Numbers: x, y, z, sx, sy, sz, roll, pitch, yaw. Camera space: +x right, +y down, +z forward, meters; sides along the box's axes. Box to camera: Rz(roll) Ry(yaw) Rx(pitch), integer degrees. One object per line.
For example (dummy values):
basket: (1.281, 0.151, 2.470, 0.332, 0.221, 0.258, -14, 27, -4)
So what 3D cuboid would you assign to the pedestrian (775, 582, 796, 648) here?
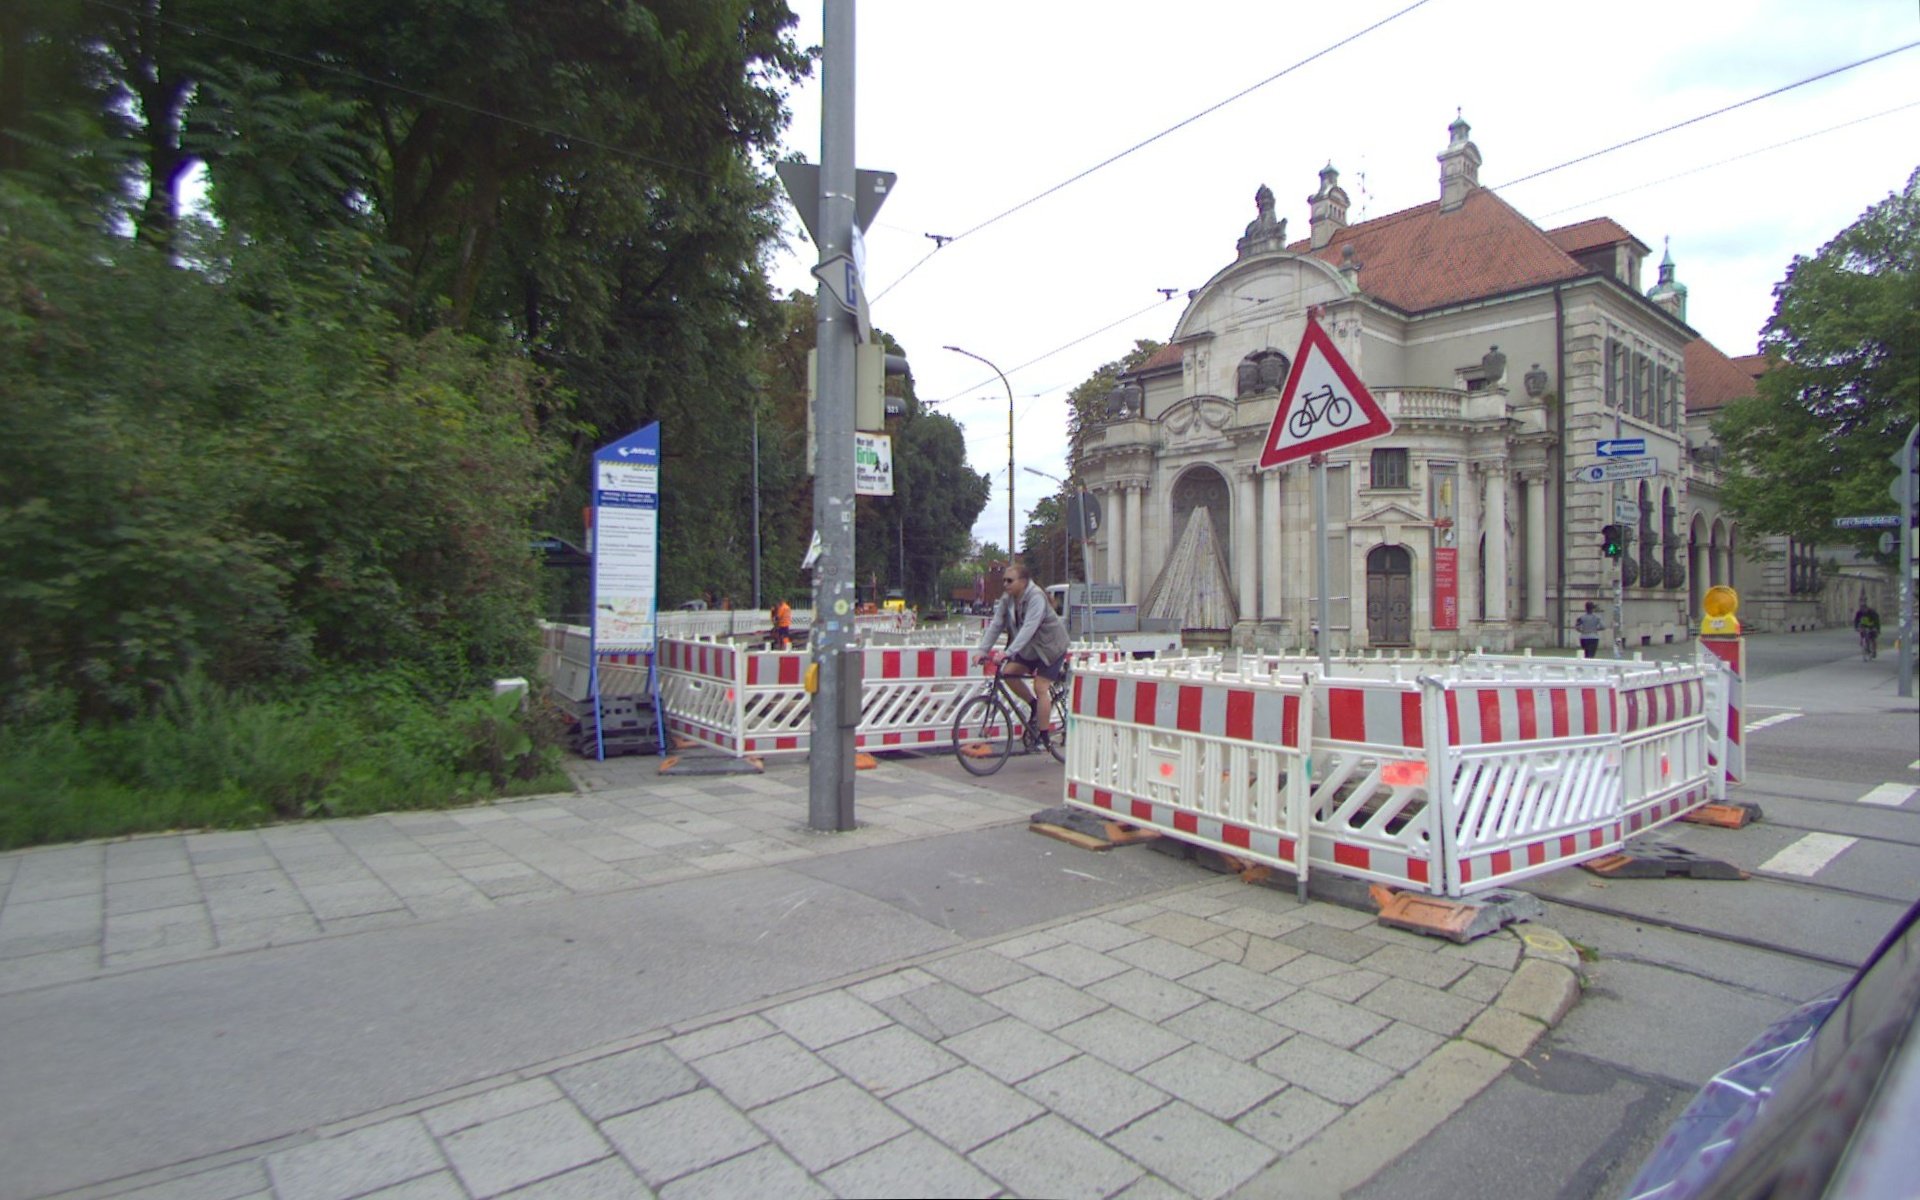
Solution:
pedestrian: (-5.756, 0.499, 33.427, 0.551, 2.136, 0.689, 1, -2, -21)

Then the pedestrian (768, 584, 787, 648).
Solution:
pedestrian: (-6.245, 0.544, 34.581, 0.551, 2.136, 0.689, 0, -2, -19)

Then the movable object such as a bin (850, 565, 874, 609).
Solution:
movable object such as a bin: (-5.497, -0.713, 56.804, 1.294, 2.343, 3.777, 0, -1, -6)

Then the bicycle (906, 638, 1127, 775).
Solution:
bicycle: (0.557, 0.899, 9.174, 2.126, 1.071, 0.739, 1, -2, -43)

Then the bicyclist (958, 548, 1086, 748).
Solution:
bicyclist: (0.562, 0.414, 9.152, 0.884, 1.688, 0.757, 1, -2, -43)

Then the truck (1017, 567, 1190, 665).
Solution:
truck: (3.941, 0.474, 29.280, 2.246, 2.527, 5.946, 0, -1, -22)

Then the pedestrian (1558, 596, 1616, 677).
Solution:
pedestrian: (14.150, 0.810, 22.860, 1.059, 1.787, 0.765, -1, -2, 32)

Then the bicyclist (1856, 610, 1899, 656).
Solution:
bicyclist: (26.889, 0.953, 29.671, 0.878, 1.330, 0.807, 1, -2, -41)

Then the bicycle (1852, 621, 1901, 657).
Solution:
bicycle: (26.907, 1.121, 29.708, 2.022, 1.020, 0.829, 1, -2, -41)
